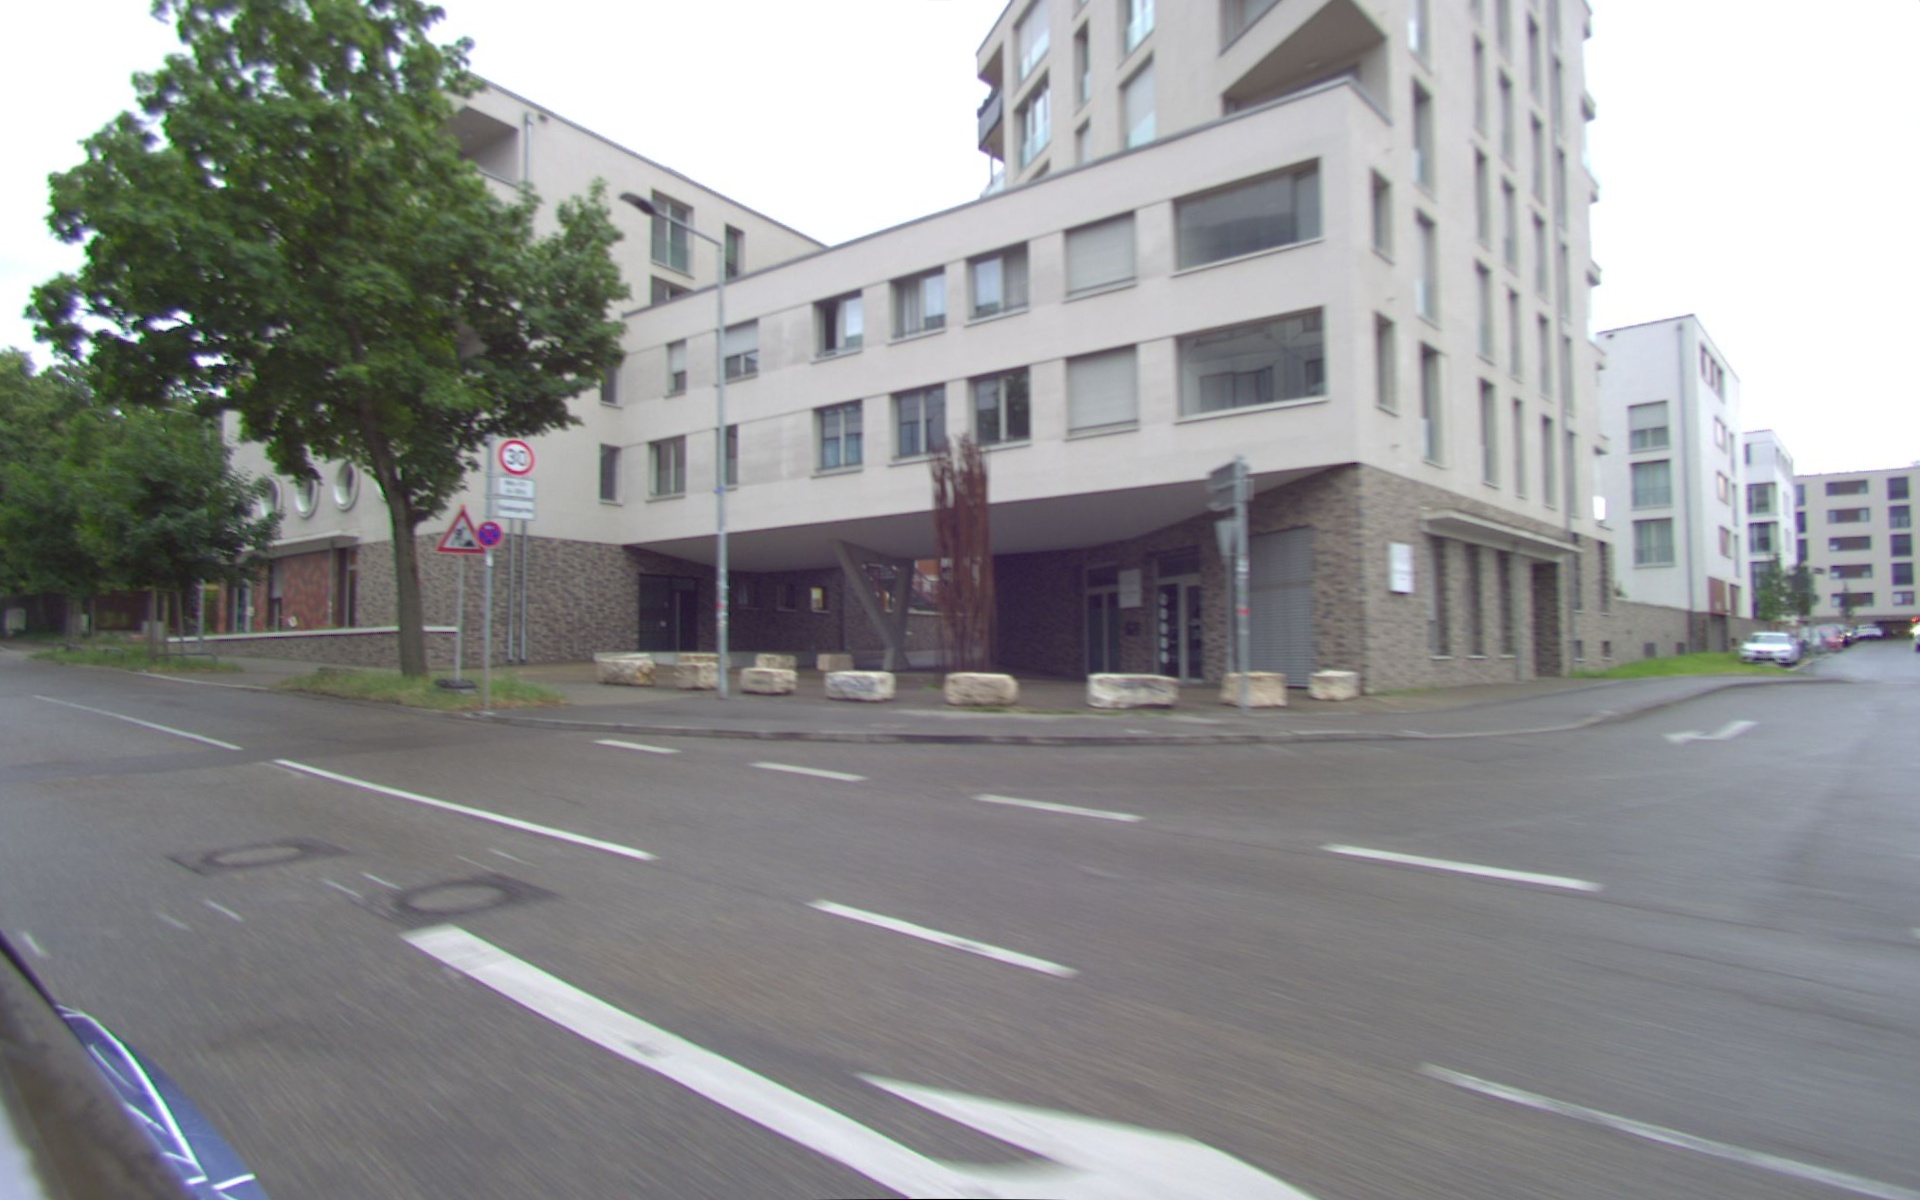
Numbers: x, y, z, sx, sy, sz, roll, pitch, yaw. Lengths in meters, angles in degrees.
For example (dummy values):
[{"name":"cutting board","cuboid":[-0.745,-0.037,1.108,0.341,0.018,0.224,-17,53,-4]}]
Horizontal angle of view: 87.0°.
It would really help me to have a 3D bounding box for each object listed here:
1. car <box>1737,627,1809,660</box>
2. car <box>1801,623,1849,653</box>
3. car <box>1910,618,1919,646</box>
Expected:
[{"name":"car","cuboid":[35.275,1.861,43.854,2.001,1.313,4.089,-1,-1,45]},{"name":"car","cuboid":[52.443,2.306,61.315,2.000,1.763,3.943,-1,-3,43]},{"name":"car","cuboid":[60.014,1.973,62.011,1.996,1.763,3.952,-1,-2,35]}]
